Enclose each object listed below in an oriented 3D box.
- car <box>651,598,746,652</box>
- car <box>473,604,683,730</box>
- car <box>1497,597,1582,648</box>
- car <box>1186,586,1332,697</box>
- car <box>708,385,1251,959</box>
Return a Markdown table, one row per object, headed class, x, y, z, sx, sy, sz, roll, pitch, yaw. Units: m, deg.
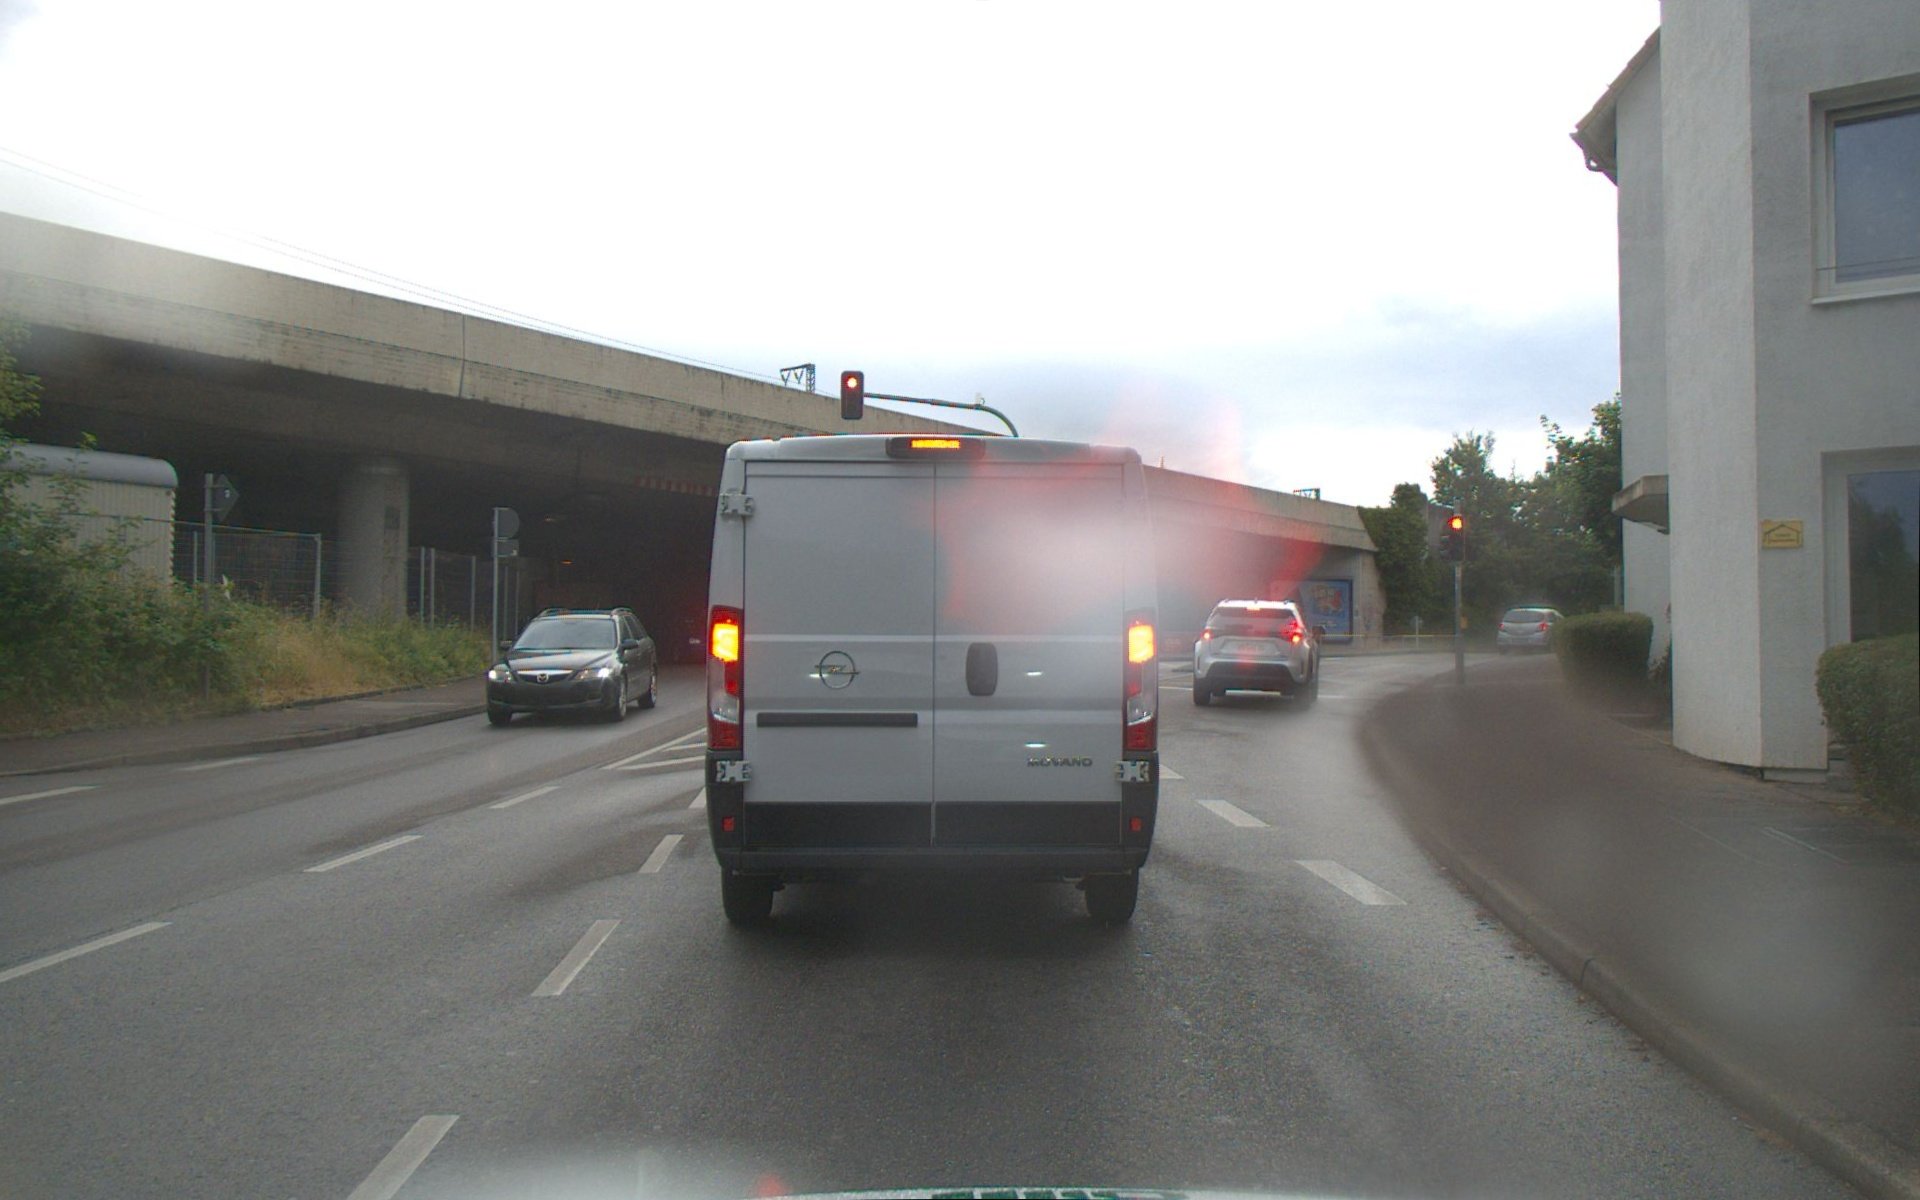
| class | x | y | z | sx | sy | sz | roll | pitch | yaw |
| --- | --- | --- | --- | --- | --- | --- | --- | --- | --- |
| car | -7.834 | 0.760 | 49.271 | 1.966 | 1.545 | 3.973 | 1 | -2 | -22 |
| car | -5.212 | 0.866 | 23.157 | 1.803 | 1.597 | 4.413 | 0 | 0 | 2 |
| car | 18.709 | 0.761 | 53.296 | 1.956 | 1.581 | 3.993 | -1 | -2 | 29 |
| car | 4.721 | 0.645 | 25.671 | 1.951 | 1.576 | 4.003 | 0 | -2 | 14 |
| car | 0.058 | 0.301 | 9.524 | 2.258 | 2.384 | 5.281 | 0 | 0 | -1 |
